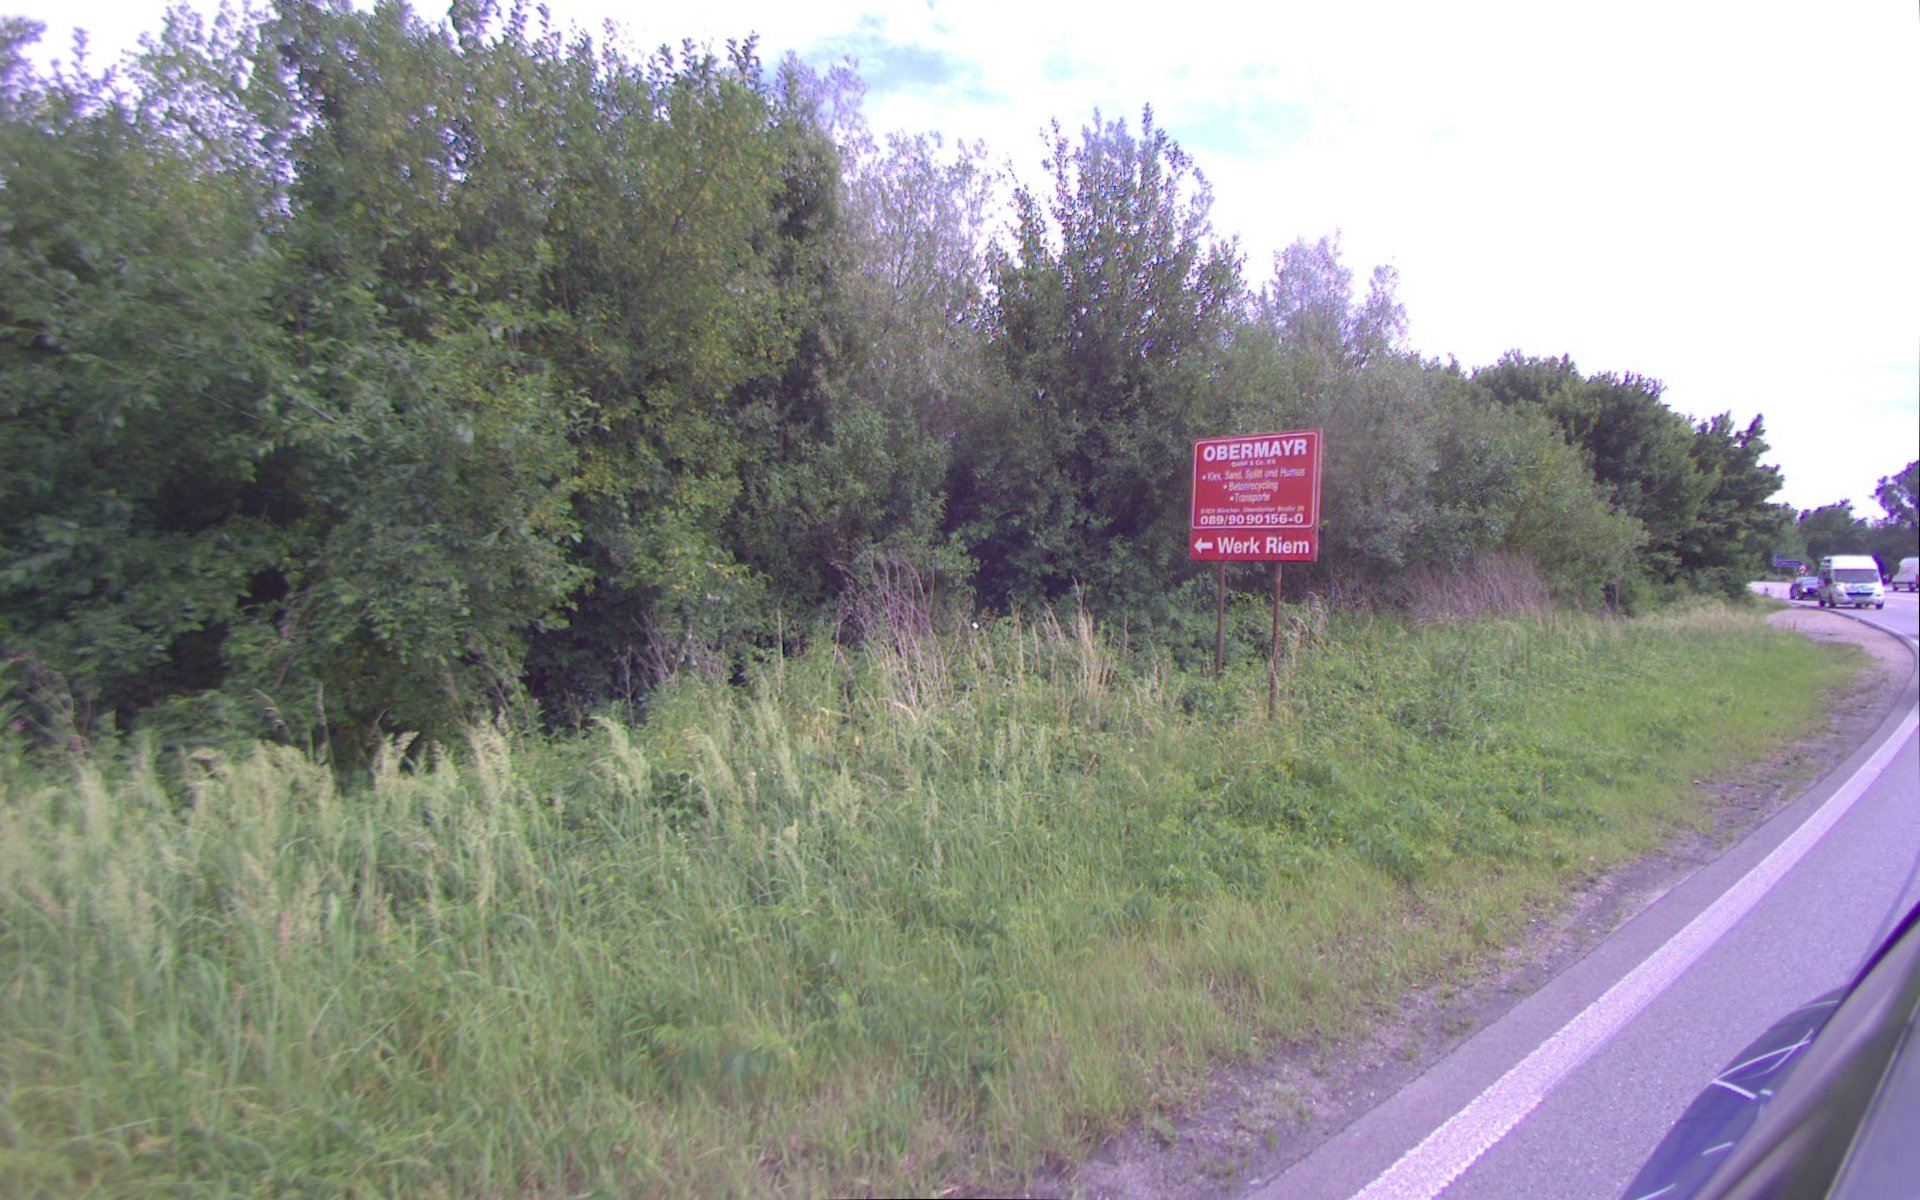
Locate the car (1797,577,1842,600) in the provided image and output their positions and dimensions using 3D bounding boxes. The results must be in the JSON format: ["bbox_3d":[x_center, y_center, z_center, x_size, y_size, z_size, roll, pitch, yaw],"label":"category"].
[{"bbox_3d":[54.222,-0.750,63.911,1.721,1.381,3.951,2,2,34],"label":"car"}]

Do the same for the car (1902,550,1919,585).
[{"bbox_3d":[75.618,-2.548,78.427,2.422,2.707,6.813,0,2,31],"label":"car"}]

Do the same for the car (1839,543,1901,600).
[{"bbox_3d":[46.760,-1.435,52.089,2.211,2.704,5.162,-2,0,41],"label":"car"}]
